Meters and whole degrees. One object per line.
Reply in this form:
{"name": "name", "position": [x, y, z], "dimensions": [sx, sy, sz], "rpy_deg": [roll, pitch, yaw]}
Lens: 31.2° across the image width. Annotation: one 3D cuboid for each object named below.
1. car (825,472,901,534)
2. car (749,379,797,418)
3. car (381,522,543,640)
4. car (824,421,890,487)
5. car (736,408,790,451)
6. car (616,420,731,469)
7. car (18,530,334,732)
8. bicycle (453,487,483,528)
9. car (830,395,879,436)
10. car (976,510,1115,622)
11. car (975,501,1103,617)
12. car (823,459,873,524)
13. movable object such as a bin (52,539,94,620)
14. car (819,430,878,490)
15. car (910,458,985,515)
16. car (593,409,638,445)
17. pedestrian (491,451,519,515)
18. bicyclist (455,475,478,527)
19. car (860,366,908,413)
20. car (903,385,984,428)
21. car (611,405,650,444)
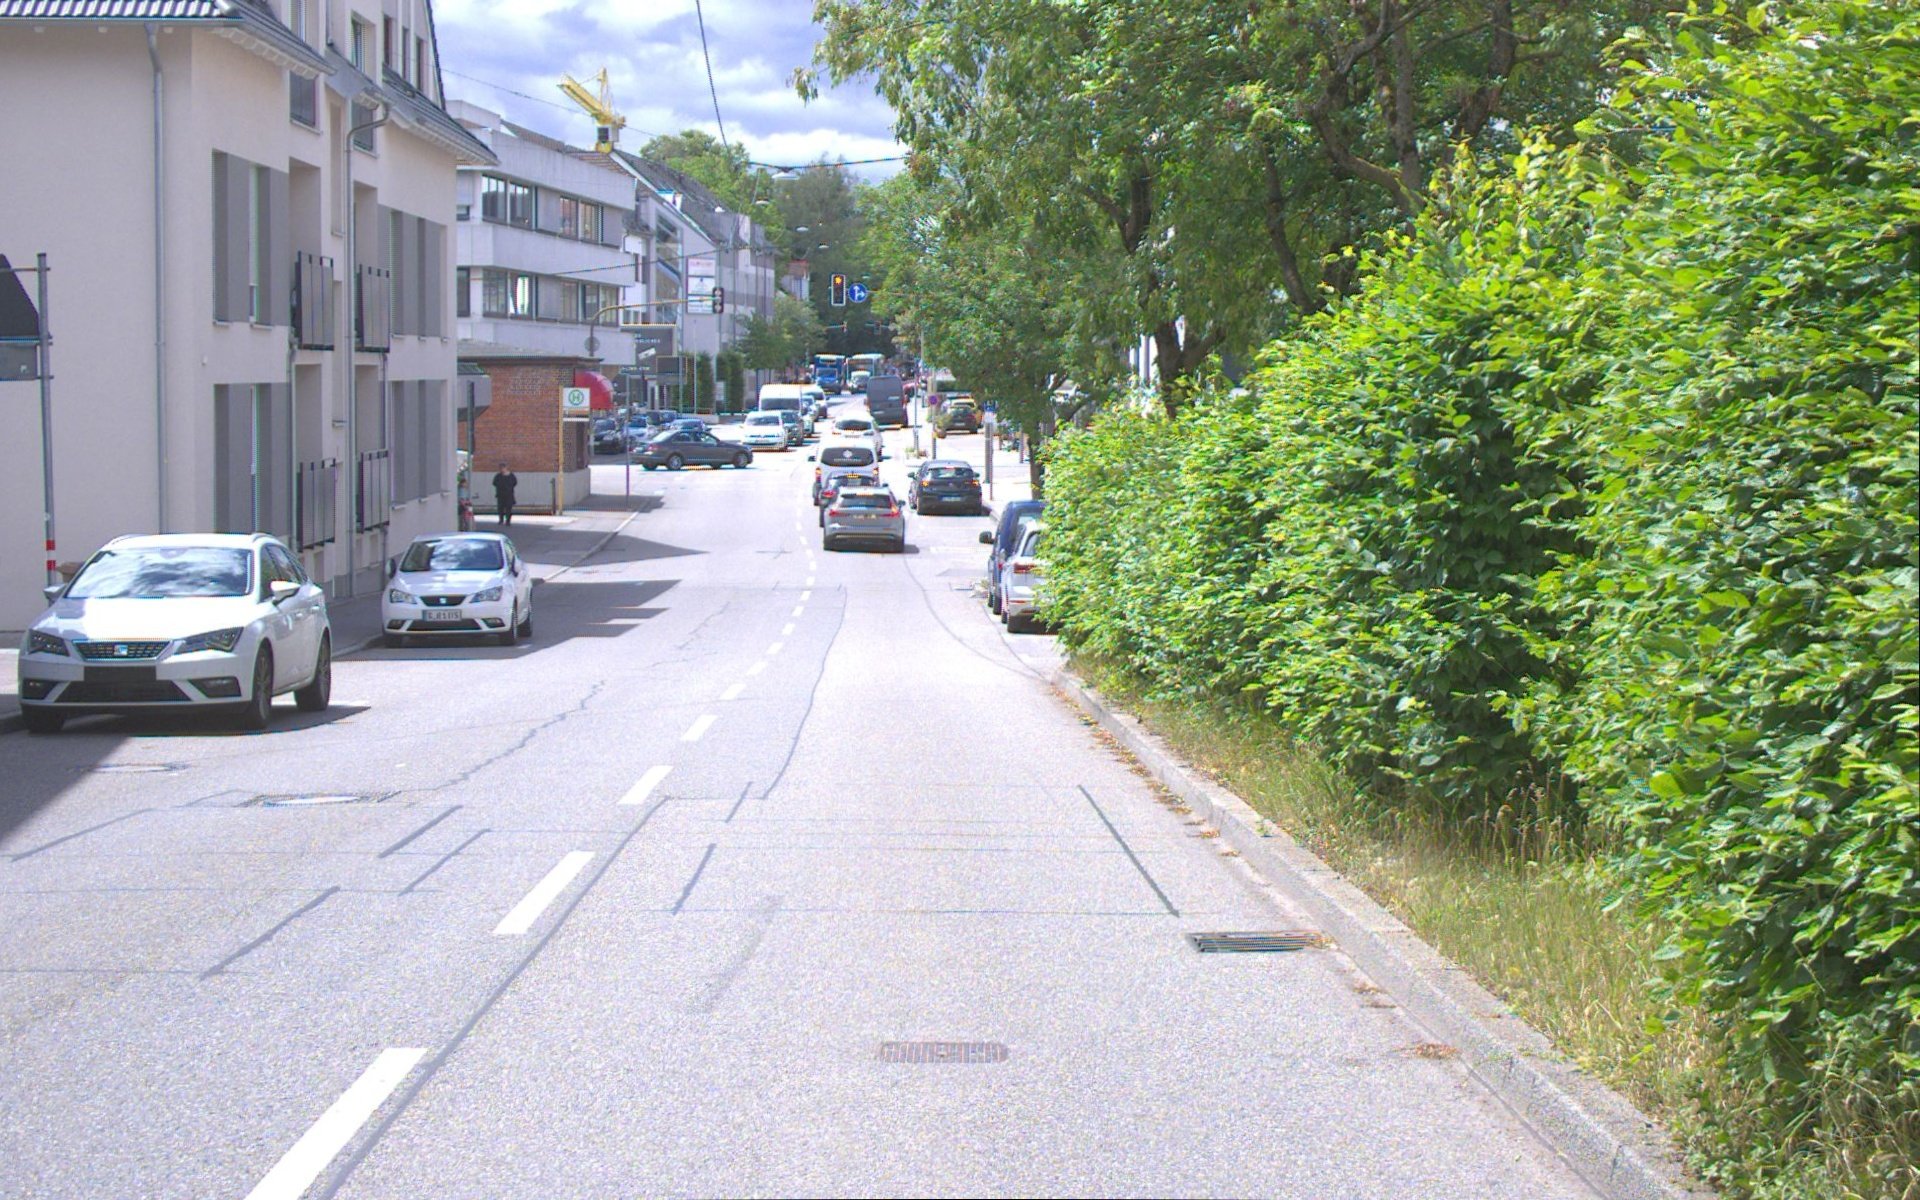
{"name": "car", "position": [-2.265, -2.287, 80.442], "dimensions": [1.744, 1.412, 4.001], "rpy_deg": [0, 2, -1]}
{"name": "car", "position": [-8.498, -9.147, 156.373], "dimensions": [1.873, 1.634, 4.000], "rpy_deg": [0, 2, 1]}
{"name": "car", "position": [-6.438, -0.284, 44.763], "dimensions": [1.647, 1.414, 3.699], "rpy_deg": [1, 2, -1]}
{"name": "car", "position": [-2.972, -4.229, 99.704], "dimensions": [1.836, 1.855, 3.851], "rpy_deg": [1, 2, -1]}
{"name": "car", "position": [-8.137, -7.047, 142.298], "dimensions": [1.873, 1.634, 4.000], "rpy_deg": [2, 2, 1]}
{"name": "car", "position": [-9.980, -5.413, 119.810], "dimensions": [3.648, 1.609, 1.576], "rpy_deg": [1, 2, -28]}
{"name": "car", "position": [-5.965, 0.184, 26.548], "dimensions": [1.697, 1.385, 3.867], "rpy_deg": [1, 2, -2]}
{"name": "bicycle", "position": [-11.359, -2.151, 79.454], "dimensions": [0.467, 0.858, 1.777], "rpy_deg": [2, 4, -2]}
{"name": "car", "position": [-4.182, -7.325, 136.676], "dimensions": [1.888, 1.503, 4.001], "rpy_deg": [-1, 2, -1]}
{"name": "car", "position": [1.196, -0.525, 49.687], "dimensions": [1.786, 1.504, 4.365], "rpy_deg": [1, 2, -1]}
{"name": "car", "position": [1.236, -0.700, 55.483], "dimensions": [1.844, 1.761, 4.516], "rpy_deg": [1, 2, -1]}
{"name": "car", "position": [-2.906, -2.838, 89.400], "dimensions": [1.273, 1.522, 3.051], "rpy_deg": [0, 5, -2]}
{"name": "movable object such as a bin", "position": [-10.477, -0.246, 40.594], "dimensions": [0.413, 0.950, 0.391], "rpy_deg": [0, 2, -4]}
{"name": "car", "position": [-3.551, -4.486, 110.015], "dimensions": [1.836, 1.855, 3.851], "rpy_deg": [1, 2, -1]}
{"name": "car", "position": [-0.377, -3.188, 95.999], "dimensions": [1.752, 1.366, 4.002], "rpy_deg": [0, 5, -5]}
{"name": "car", "position": [-13.870, -6.969, 138.563], "dimensions": [1.551, 1.371, 3.399], "rpy_deg": [0, 2, -1]}
{"name": "pedestrian", "position": [-11.505, -2.952, 86.887], "dimensions": [0.628, 1.597, 0.563], "rpy_deg": [0, 2, -14]}
{"name": "bicyclist", "position": [-11.377, -2.287, 79.303], "dimensions": [0.458, 1.175, 0.625], "rpy_deg": [0, 2, -1]}
{"name": "car", "position": [-3.985, -11.002, 179.872], "dimensions": [2.436, 2.310, 5.327], "rpy_deg": [2, 3, -2]}
{"name": "car", "position": [-0.619, -7.520, 133.933], "dimensions": [1.783, 1.552, 3.996], "rpy_deg": [0, 2, 21]}
{"name": "car", "position": [-13.760, -7.330, 143.748], "dimensions": [1.384, 1.535, 3.399], "rpy_deg": [0, 2, -1]}
